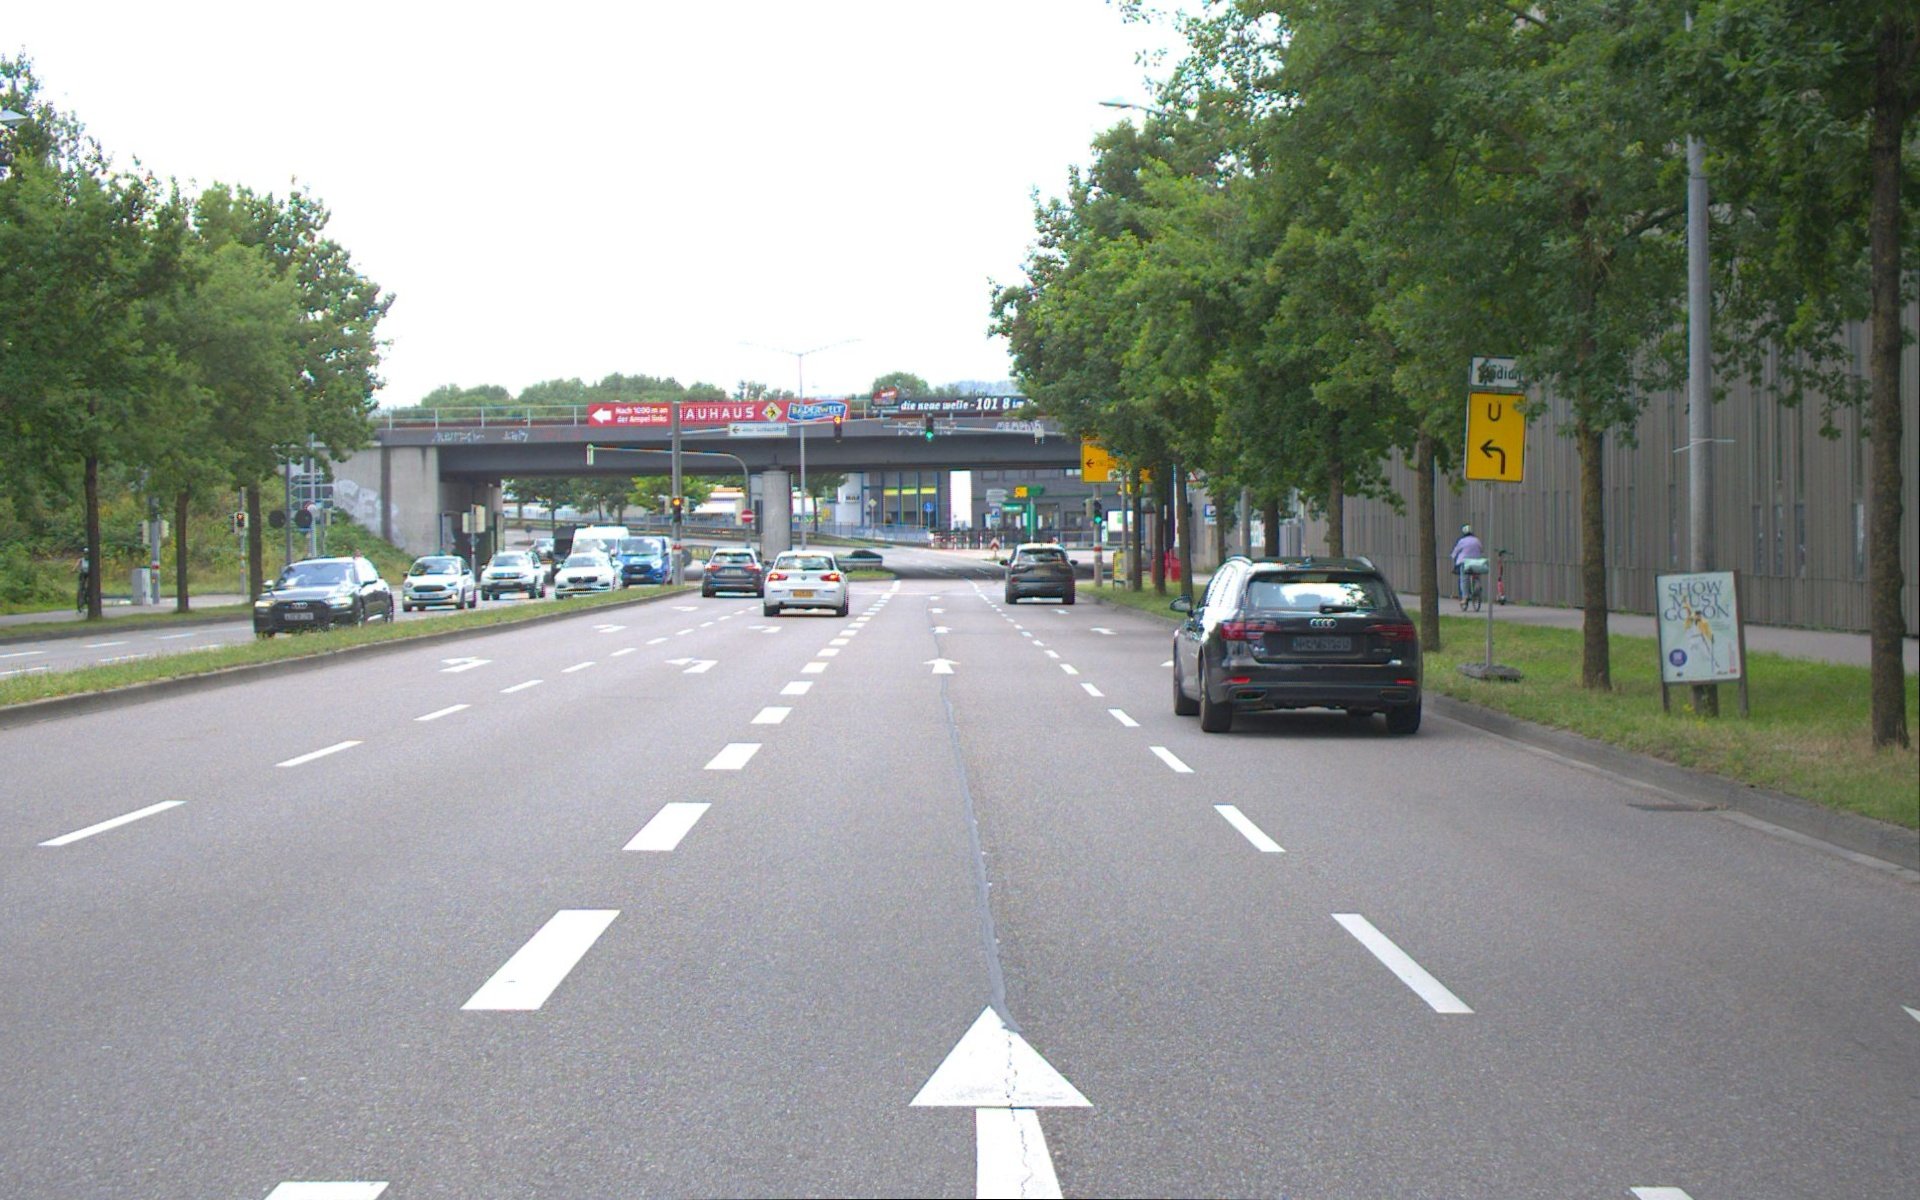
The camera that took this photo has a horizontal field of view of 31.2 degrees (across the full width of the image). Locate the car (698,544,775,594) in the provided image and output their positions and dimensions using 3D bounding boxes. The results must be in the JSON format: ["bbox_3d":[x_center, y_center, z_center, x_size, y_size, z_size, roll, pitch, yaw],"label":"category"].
[{"bbox_3d":[-6.563,-0.925,101.292,1.993,1.410,4.832,1,1,0],"label":"car"}]

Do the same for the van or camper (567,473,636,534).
[{"bbox_3d":[-15.150,-4.053,145.500,2.351,2.531,7.065,0,1,-1],"label":"van or camper"}]

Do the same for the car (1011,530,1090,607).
[{"bbox_3d":[2.464,-0.882,94.525,1.993,2.030,4.713,-1,1,0],"label":"car"}]

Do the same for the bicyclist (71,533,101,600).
[{"bbox_3d":[-24.116,-0.932,94.886,0.658,1.812,0.726,-1,1,-5],"label":"bicyclist"}]

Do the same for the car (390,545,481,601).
[{"bbox_3d":[-14.755,-0.789,96.870,1.914,1.438,4.415,-3,1,-1],"label":"car"}]

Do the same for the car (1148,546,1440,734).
[{"bbox_3d":[2.754,0.282,29.343,1.993,1.385,4.576,1,2,0],"label":"car"}]

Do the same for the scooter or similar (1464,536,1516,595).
[{"bbox_3d":[11.469,-0.756,74.391,0.704,1.242,2.480,-2,1,0],"label":"scooter or similar"}]

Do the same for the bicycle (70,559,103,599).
[{"bbox_3d":[-24.098,-0.584,94.861,0.547,1.048,1.838,-1,1,-4],"label":"bicycle"}]

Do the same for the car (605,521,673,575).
[{"bbox_3d":[-12.202,-2.001,130.876,2.190,1.957,5.194,-1,1,-2],"label":"car"}]

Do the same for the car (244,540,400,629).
[{"bbox_3d":[-11.619,-0.317,62.909,1.959,1.512,4.910,-1,1,-1],"label":"car"}]

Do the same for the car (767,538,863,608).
[{"bbox_3d":[-3.153,-0.613,75.398,1.915,1.410,4.296,2,1,0],"label":"car"}]

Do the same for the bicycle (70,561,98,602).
[{"bbox_3d":[-24.085,-0.525,94.528,0.509,1.103,1.845,1,1,-7],"label":"bicycle"}]

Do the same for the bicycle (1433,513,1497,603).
[{"bbox_3d":[10.175,-0.854,69.355,0.719,1.768,2.534,-1,1,-4],"label":"bicycle"}]

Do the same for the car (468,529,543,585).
[{"bbox_3d":[-15.287,-1.466,115.795,1.993,1.795,4.410,-1,1,-2],"label":"car"}]

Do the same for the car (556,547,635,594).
[{"bbox_3d":[-11.722,-0.955,110.766,1.993,1.426,5.024,-1,1,0],"label":"car"}]

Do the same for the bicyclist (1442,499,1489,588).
[{"bbox_3d":[10.176,-1.144,69.190,0.715,1.763,0.989,-1,1,-4],"label":"bicyclist"}]
